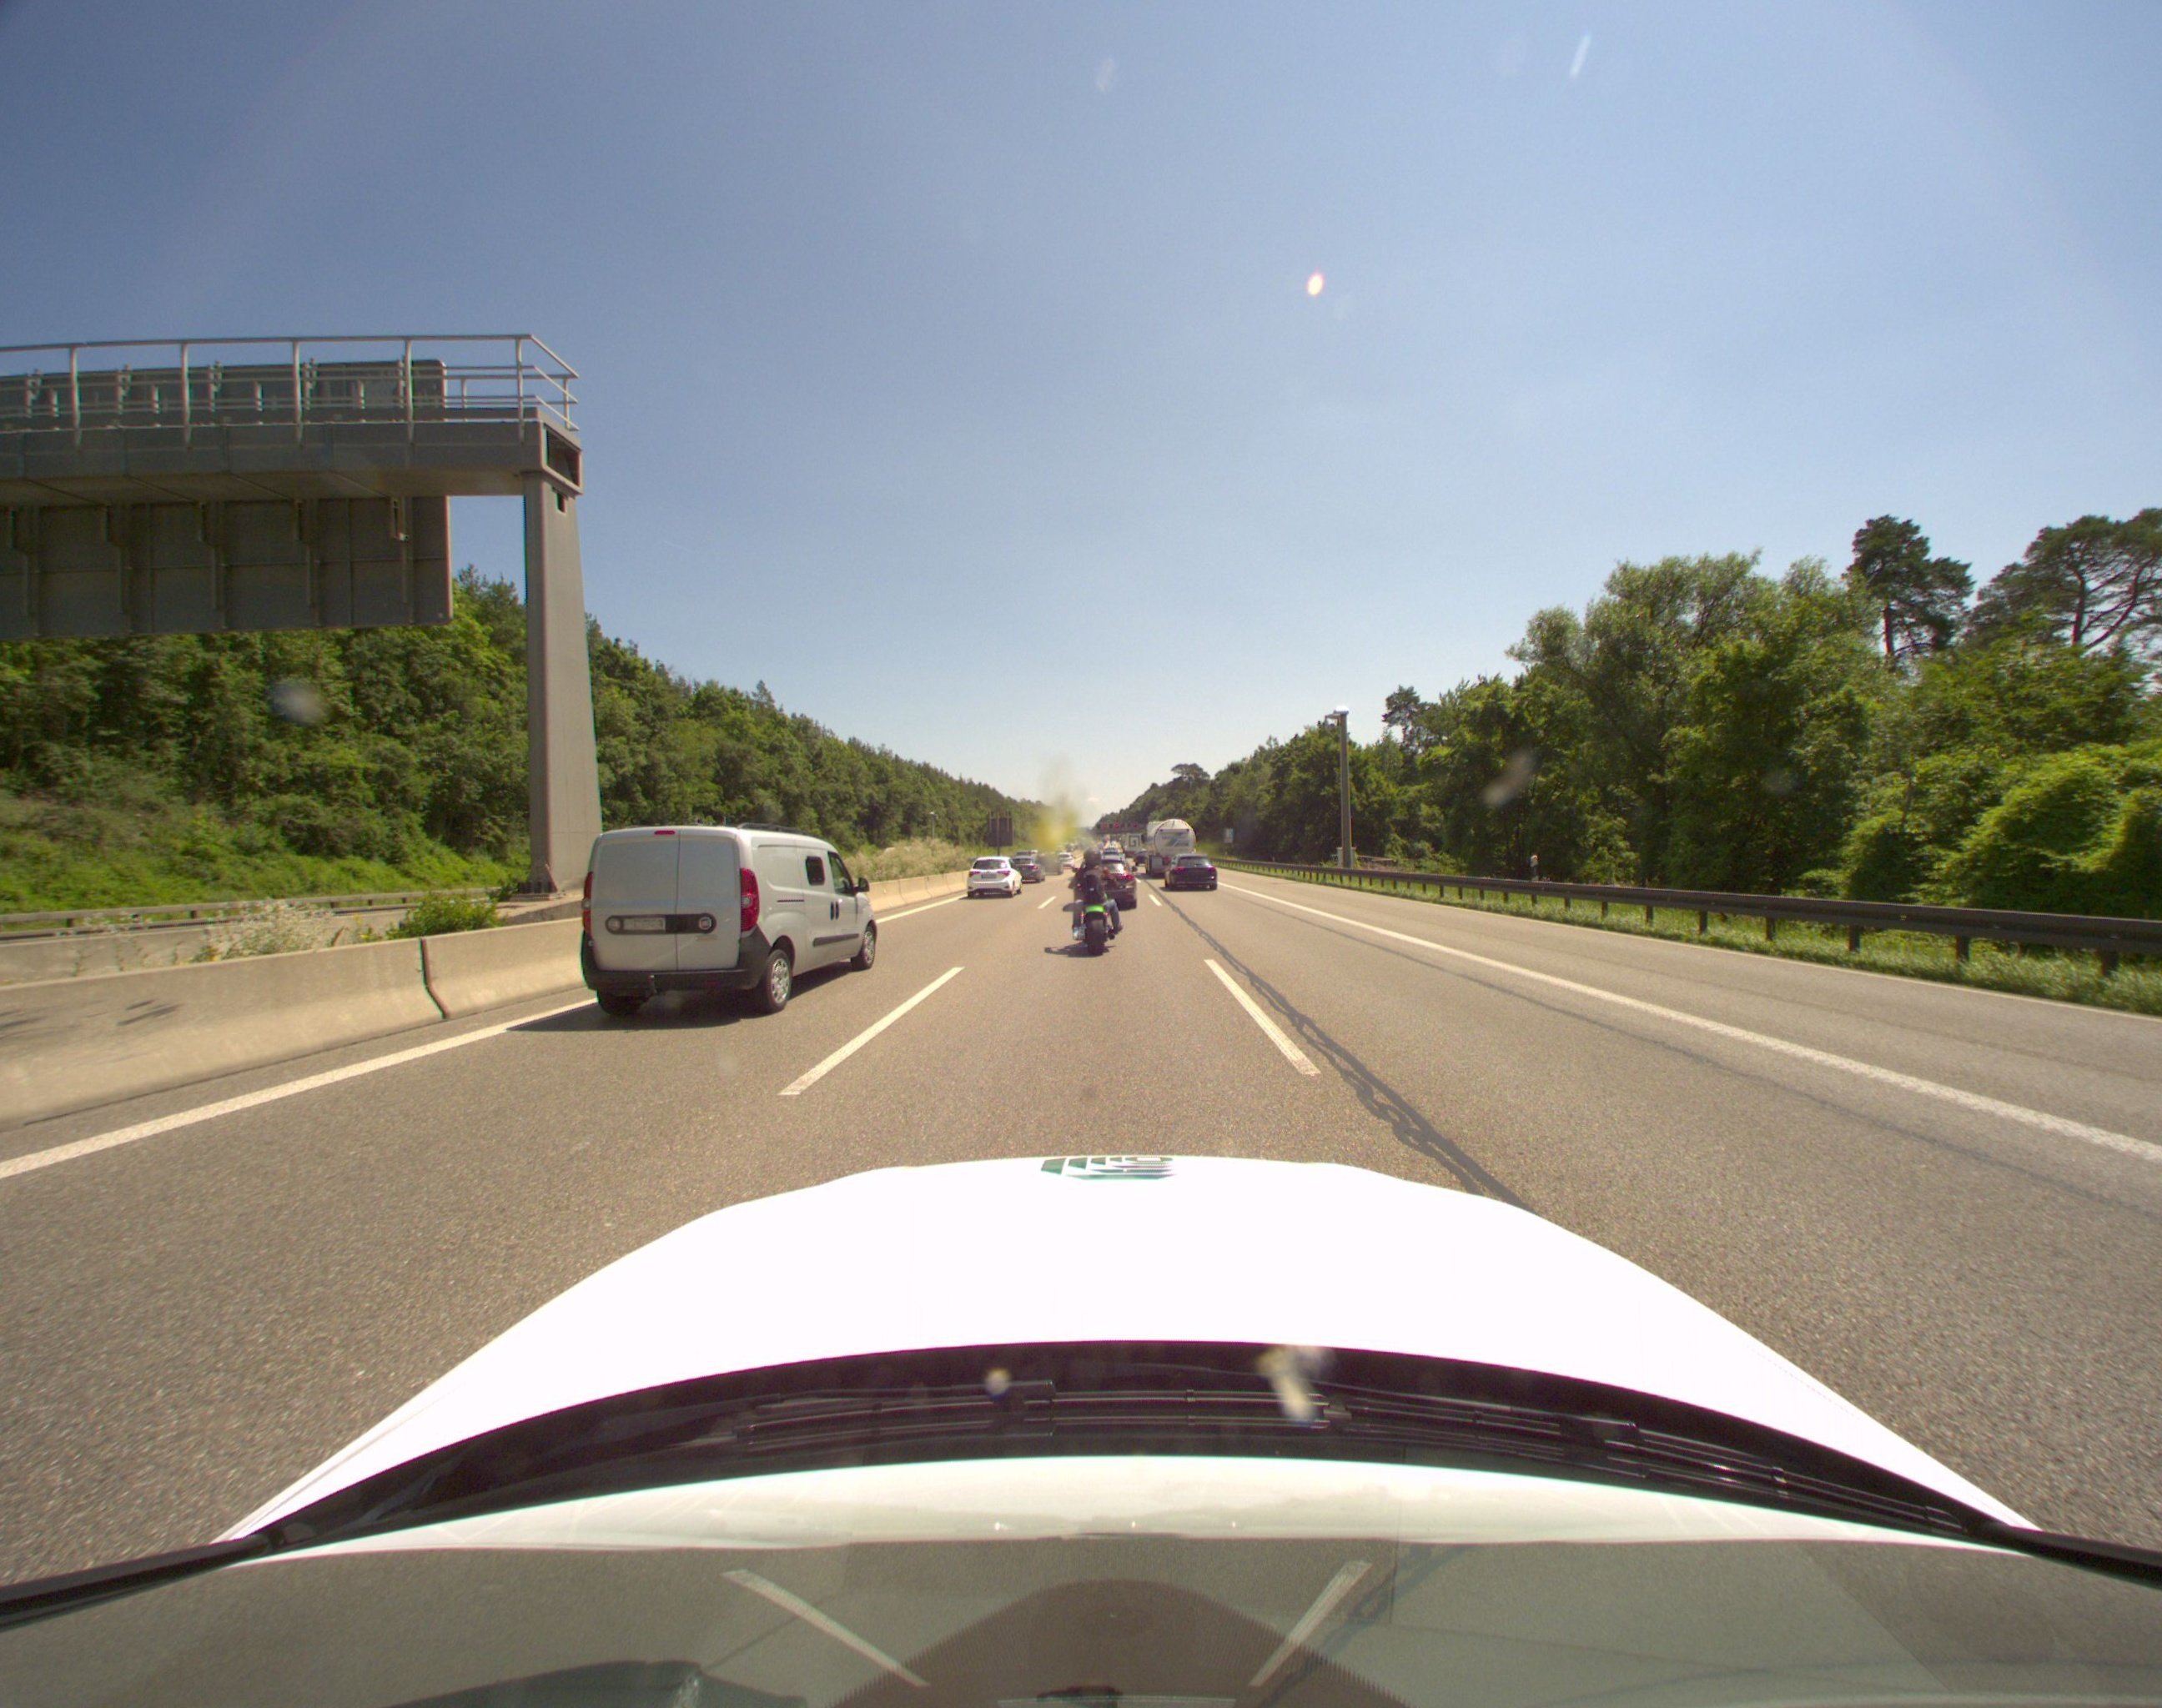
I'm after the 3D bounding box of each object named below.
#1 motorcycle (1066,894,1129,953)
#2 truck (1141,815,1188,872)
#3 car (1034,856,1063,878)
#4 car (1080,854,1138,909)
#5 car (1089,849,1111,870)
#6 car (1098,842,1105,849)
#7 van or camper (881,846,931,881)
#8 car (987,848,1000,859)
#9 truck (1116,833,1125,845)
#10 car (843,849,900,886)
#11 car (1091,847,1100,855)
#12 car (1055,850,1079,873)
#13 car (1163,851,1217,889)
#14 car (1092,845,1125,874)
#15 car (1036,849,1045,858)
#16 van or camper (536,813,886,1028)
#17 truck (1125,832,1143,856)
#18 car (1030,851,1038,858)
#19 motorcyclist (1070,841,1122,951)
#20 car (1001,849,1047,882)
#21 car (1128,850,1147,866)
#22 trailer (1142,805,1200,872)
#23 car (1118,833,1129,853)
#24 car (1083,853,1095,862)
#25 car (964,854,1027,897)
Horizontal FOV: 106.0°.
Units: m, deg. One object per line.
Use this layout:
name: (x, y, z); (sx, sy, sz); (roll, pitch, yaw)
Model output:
motorcycle: (0.291, 1.093, 13.339); (0.932, 0.793, 2.300); (-1, -1, 2)
truck: (5.675, -0.614, 56.517); (2.817, 3.671, 6.432); (-1, -1, 2)
car: (-2.264, 0.942, 57.768); (1.988, 1.464, 3.997); (-1, -1, -2)
car: (0.828, 0.746, 23.644); (1.535, 1.450, 4.002); (-1, -1, 2)
car: (1.746, 0.548, 74.063); (1.986, 1.775, 4.001); (-1, -1, 1)
car: (5.862, -2.376, 233.251); (1.986, 2.014, 4.002); (-2, -1, 2)
van or camper: (-12.889, 0.717, 60.433); (2.143, 2.423, 6.199); (-1, -1, 2)
car: (-16.661, -0.022, 155.833); (1.986, 2.013, 4.001); (-1, 0, 1)
truck: (12.246, -4.523, 251.592); (2.686, 3.405, 10.483); (-2, -1, 2)
car: (-12.247, 0.746, 47.903); (1.985, 2.013, 4.275); (-1, 0, 3)
car: (3.162, -0.691, 175.226); (1.654, 1.599, 4.002); (-1, -1, 3)
car: (-1.269, 0.733, 76.003); (1.986, 2.014, 4.001); (-1, -1, 2)
car: (4.447, 0.662, 33.689); (1.785, 1.458, 4.626); (-1, -1, 2)
car: (1.691, 0.355, 50.849); (1.986, 1.711, 4.001); (-1, -1, 1)
car: (-8.243, -0.117, 165.805); (1.690, 1.813, 4.001); (-1, 0, 1)
van or camper: (-3.826, 0.590, 9.496); (1.846, 1.880, 4.563); (-1, 0, 2)
truck: (9.032, -1.627, 137.237); (2.840, 3.822, 7.197); (-1, -1, 5)
car: (-13.051, 0.138, 227.328); (1.987, 2.013, 4.000); (-1, 0, 0)
motorcyclist: (0.255, 0.659, 13.122); (0.796, 1.688, 1.017); (-1, -2, 2)
car: (-2.998, 0.623, 43.957); (1.986, 1.684, 4.332); (-1, -1, 2)
car: (5.689, 0.440, 81.761); (1.769, 1.527, 4.002); (-1, -1, 2)
trailer: (5.460, -0.754, 51.033); (2.817, 3.671, 10.737); (-1, -1, 2)
car: (9.132, -2.321, 175.190); (2.159, 3.893, 9.334); (-1, -1, 2)
car: (1.371, 0.619, 134.232); (1.756, 1.442, 4.003); (-1, 0, 3)
car: (-3.158, 0.764, 30.802); (1.769, 1.410, 4.003); (-1, 1, 2)
